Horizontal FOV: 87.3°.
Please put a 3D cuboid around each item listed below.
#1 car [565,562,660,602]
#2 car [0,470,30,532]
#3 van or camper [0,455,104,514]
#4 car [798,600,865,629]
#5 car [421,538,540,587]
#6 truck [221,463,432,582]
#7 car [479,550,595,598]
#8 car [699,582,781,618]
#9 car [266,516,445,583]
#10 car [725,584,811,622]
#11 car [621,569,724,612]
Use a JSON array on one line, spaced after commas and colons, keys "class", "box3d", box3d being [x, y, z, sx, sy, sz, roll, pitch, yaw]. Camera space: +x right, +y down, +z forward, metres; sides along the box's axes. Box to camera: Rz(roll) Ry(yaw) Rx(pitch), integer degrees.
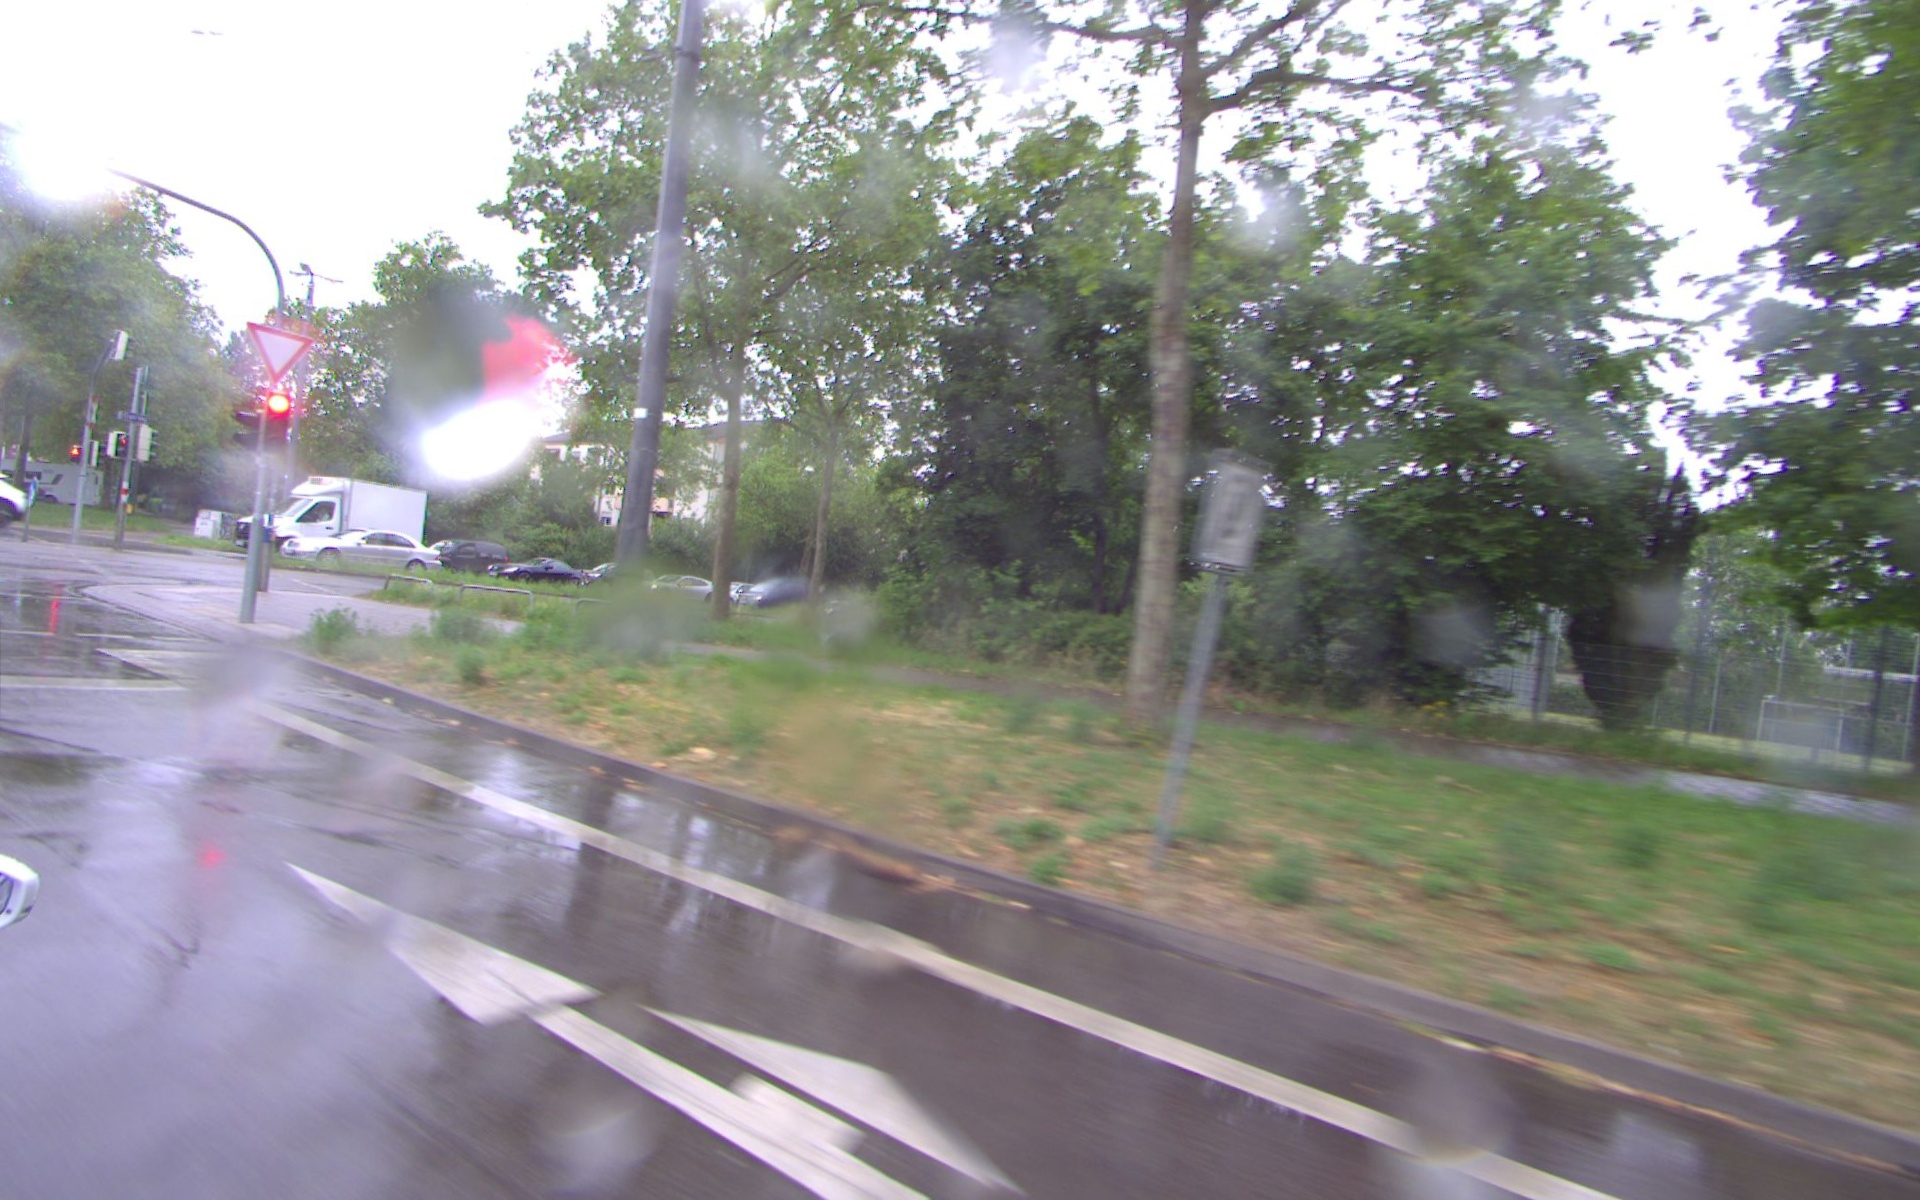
[{"class": "car", "box3d": [-16.894, -0.849, 49.082, 1.736, 1.439, 4.129, 7, -1, 30]}, {"class": "car", "box3d": [-28.619, -3.018, 27.382, 1.623, 1.676, 4.471, 7, 0, 26]}, {"class": "van or camper", "box3d": [-58.633, -7.403, 64.669, 5.204, 2.728, 2.218, 10, -2, -40]}, {"class": "car", "box3d": [-8.270, 0.958, 64.949, 1.735, 1.439, 4.671, 7, -1, 29]}, {"class": "car", "box3d": [-20.281, -1.560, 42.732, 1.736, 1.439, 4.208, 7, -1, 31]}, {"class": "truck", "box3d": [-21.067, -2.494, 33.761, 1.947, 3.095, 5.479, 7, -1, 29]}, {"class": "car", "box3d": [-17.049, -1.013, 40.759, 1.616, 1.406, 4.118, 7, -1, 29]}, {"class": "car", "box3d": [-12.191, 0.017, 56.062, 1.735, 1.439, 4.671, 7, -1, 29]}, {"class": "car", "box3d": [-18.824, -1.532, 31.572, 1.616, 1.406, 4.521, 7, -1, 29]}, {"class": "car", "box3d": [-10.079, 0.190, 53.212, 1.735, 1.439, 4.671, 7, -1, 29]}, {"class": "car", "box3d": [-13.485, -0.414, 47.425, 1.735, 1.439, 4.671, 7, -1, 29]}]
